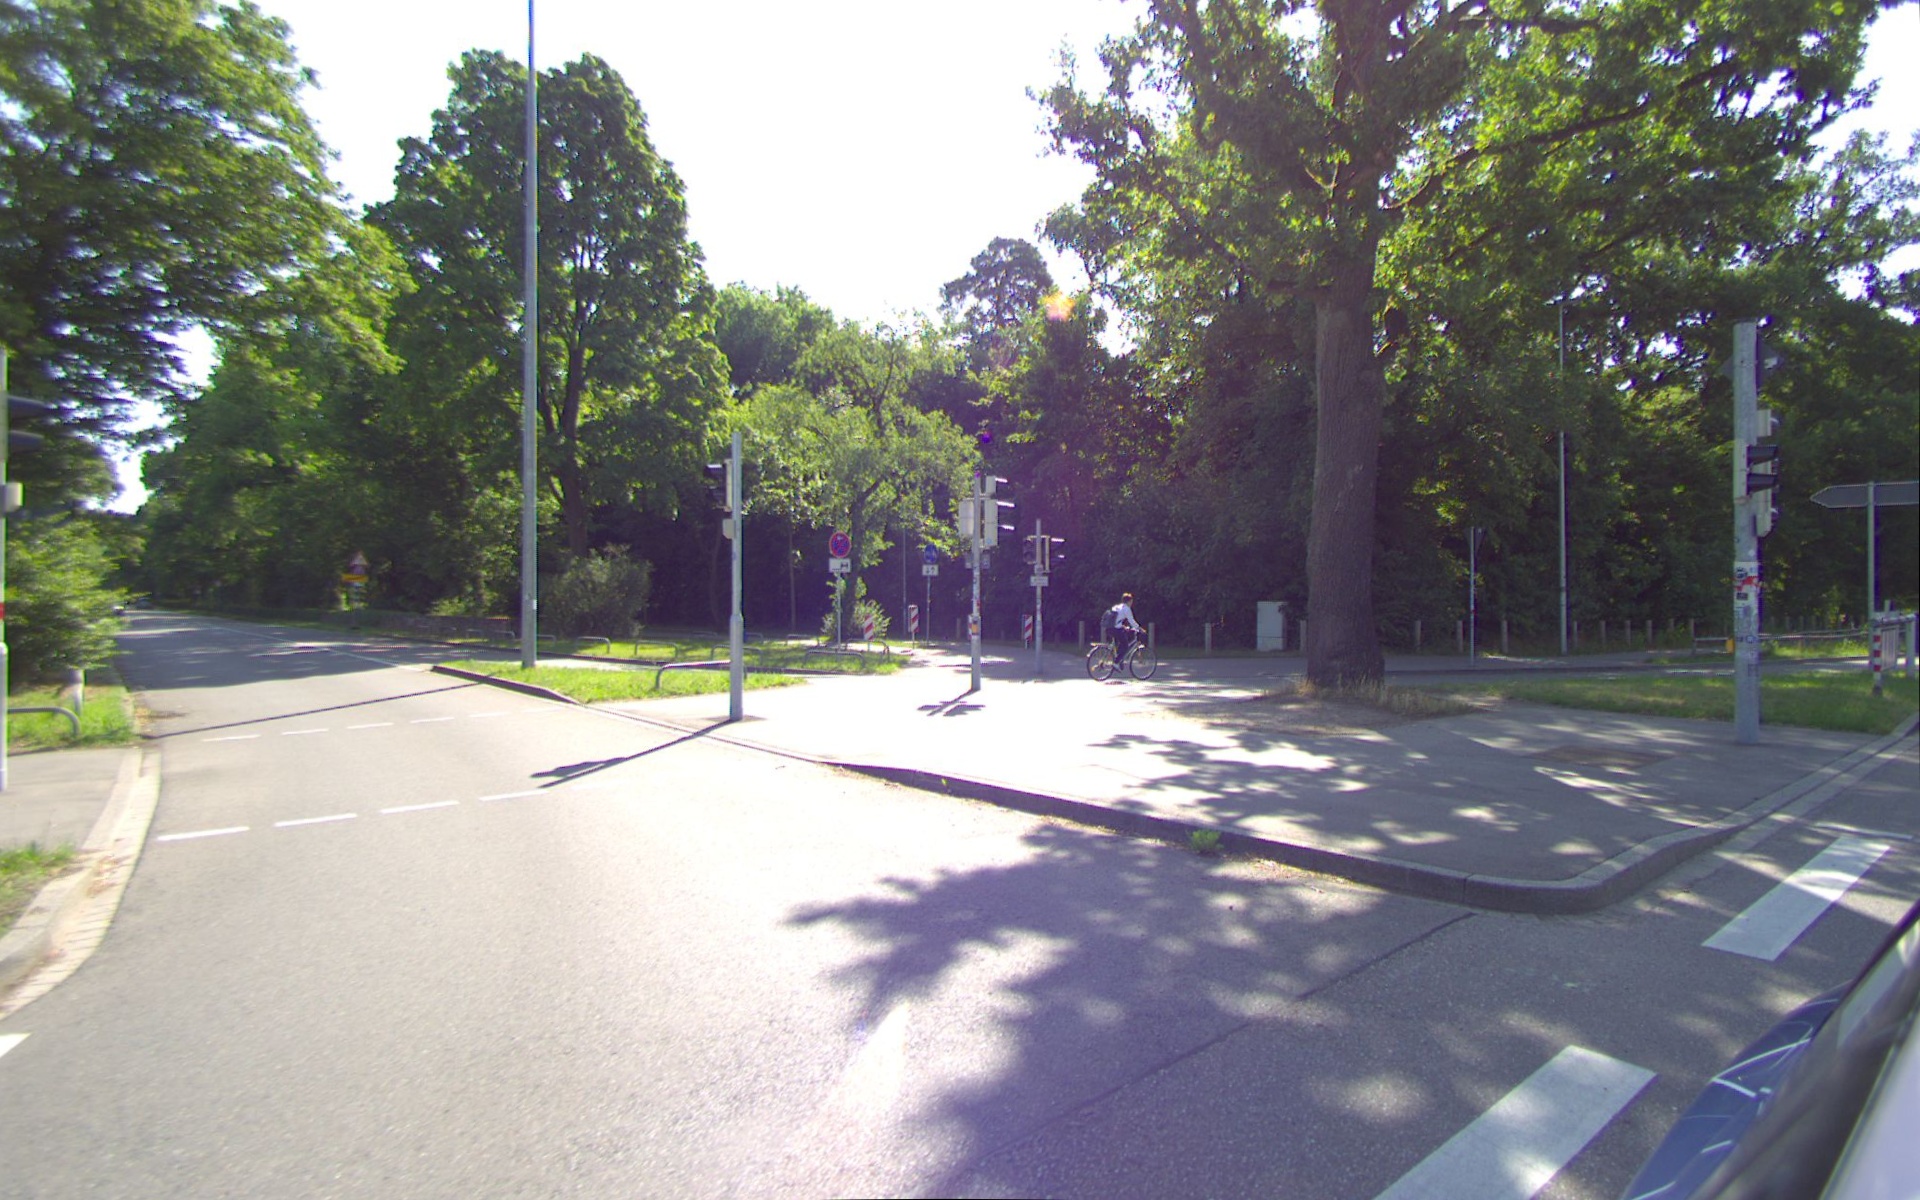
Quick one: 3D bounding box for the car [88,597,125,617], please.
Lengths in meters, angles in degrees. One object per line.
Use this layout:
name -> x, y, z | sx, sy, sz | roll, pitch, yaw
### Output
car -> -66.838, 0.536, 79.318 | 1.963, 1.505, 3.998 | 0, 0, -37

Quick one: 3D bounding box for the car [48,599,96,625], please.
car -> -55.537, 0.731, 63.334 | 1.811, 1.502, 4.000 | 0, 0, -35

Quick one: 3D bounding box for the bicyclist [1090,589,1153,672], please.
bicyclist -> 3.289, 0.604, 20.661 | 1.036, 1.659, 0.727 | 0, 0, -24

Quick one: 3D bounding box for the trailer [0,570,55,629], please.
trailer -> -46.738, -0.032, 49.131 | 2.649, 2.721, 6.896 | 0, 0, -29

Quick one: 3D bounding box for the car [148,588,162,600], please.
car -> -136.616, -1.052, 171.821 | 1.847, 2.039, 3.996 | 0, 0, -38

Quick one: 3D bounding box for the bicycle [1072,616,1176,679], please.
bicycle -> 3.355, 0.952, 20.674 | 2.057, 1.214, 0.727 | 0, 0, -24

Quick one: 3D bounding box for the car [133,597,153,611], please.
car -> -108.085, 0.475, 133.953 | 1.964, 1.794, 3.997 | 0, 0, -38
